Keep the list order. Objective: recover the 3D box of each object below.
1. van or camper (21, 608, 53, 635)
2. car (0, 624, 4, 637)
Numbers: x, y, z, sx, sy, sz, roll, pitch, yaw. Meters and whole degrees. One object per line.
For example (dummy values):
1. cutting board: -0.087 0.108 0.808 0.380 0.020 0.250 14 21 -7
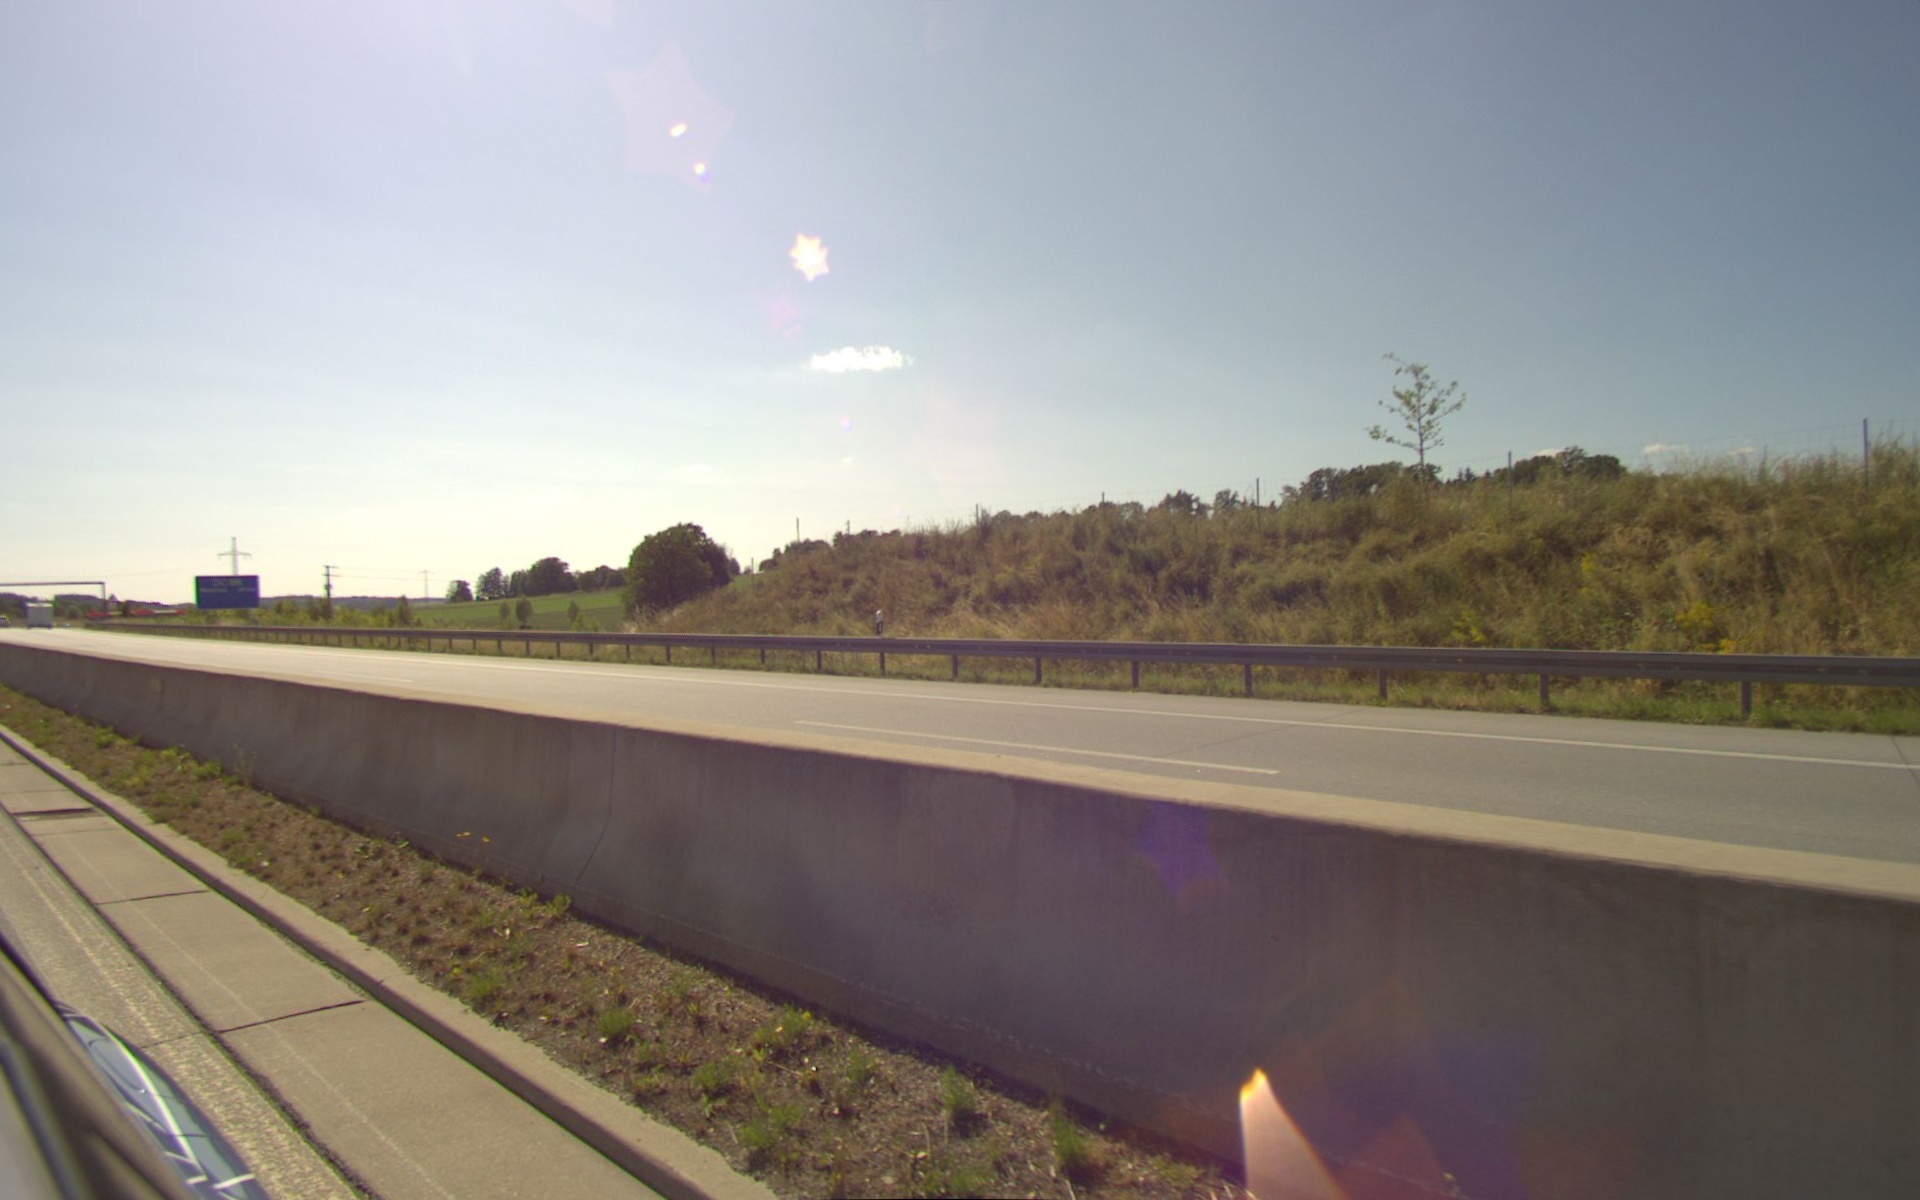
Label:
1. van or camper: -110.375 2.626 120.957 2.561 3.104 7.442 1 -2 -44
2. car: -131.203 4.124 137.239 4.347 1.722 1.964 -2 -3 44
